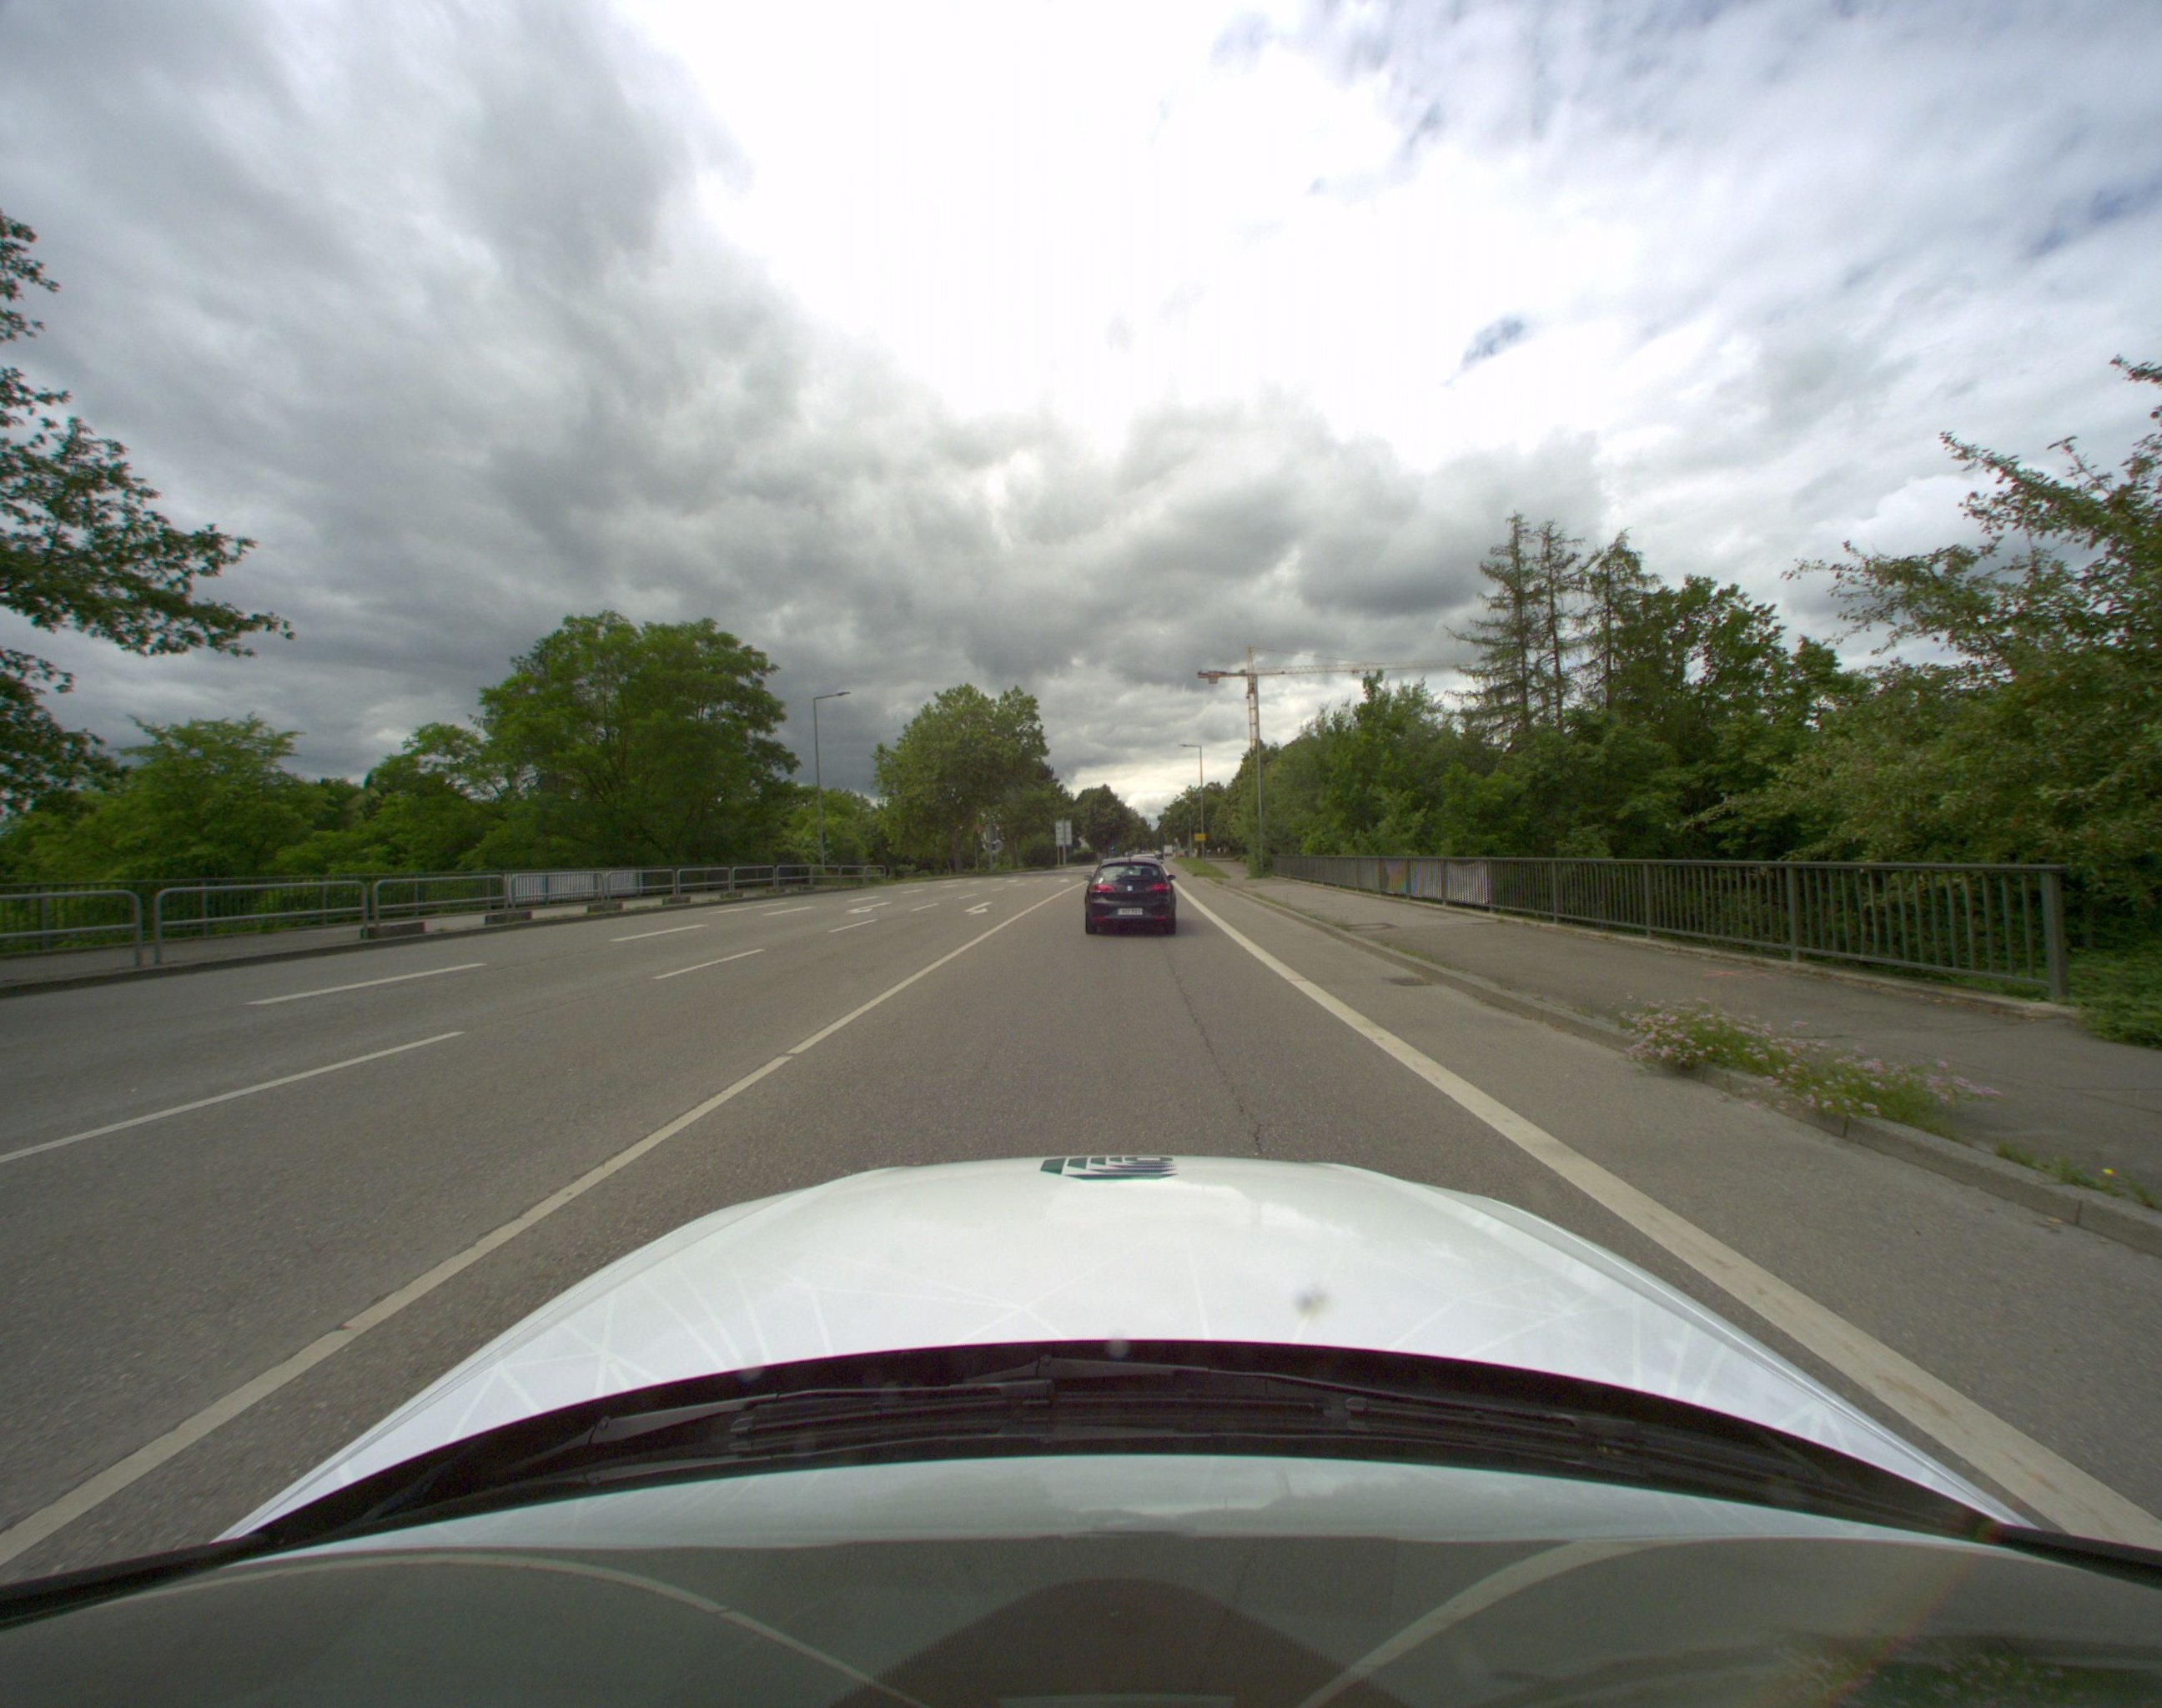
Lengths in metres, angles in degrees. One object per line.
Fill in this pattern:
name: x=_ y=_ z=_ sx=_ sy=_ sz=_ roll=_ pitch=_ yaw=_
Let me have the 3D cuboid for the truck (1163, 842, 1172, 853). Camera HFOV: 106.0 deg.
truck: x=23.823 y=-1.765 z=224.663 sx=2.267 sy=3.104 sz=8.526 roll=0 pitch=0 yaw=7

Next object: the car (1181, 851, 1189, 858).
car: x=23.261 y=0.022 z=182.396 sx=1.679 sy=1.490 sz=3.361 roll=-2 pitch=0 yaw=7

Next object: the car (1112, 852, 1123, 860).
car: x=7.252 y=0.406 z=160.378 sx=1.709 sy=1.395 sz=4.811 roll=-4 pitch=0 yaw=7

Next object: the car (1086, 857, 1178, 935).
car: x=0.982 y=0.763 z=16.679 sx=1.656 sy=1.401 sz=3.813 roll=0 pitch=0 yaw=2

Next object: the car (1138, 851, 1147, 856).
car: x=18.595 y=-0.098 z=246.186 sx=2.089 sy=1.506 sz=5.795 roll=-4 pitch=0 yaw=7

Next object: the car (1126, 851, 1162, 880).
car: x=3.497 y=0.620 z=44.622 sx=1.837 sy=1.510 sz=3.818 roll=0 pitch=0 yaw=6

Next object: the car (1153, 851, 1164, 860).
car: x=14.391 y=0.293 z=151.166 sx=1.871 sy=1.689 sz=4.222 roll=-2 pitch=0 yaw=7
